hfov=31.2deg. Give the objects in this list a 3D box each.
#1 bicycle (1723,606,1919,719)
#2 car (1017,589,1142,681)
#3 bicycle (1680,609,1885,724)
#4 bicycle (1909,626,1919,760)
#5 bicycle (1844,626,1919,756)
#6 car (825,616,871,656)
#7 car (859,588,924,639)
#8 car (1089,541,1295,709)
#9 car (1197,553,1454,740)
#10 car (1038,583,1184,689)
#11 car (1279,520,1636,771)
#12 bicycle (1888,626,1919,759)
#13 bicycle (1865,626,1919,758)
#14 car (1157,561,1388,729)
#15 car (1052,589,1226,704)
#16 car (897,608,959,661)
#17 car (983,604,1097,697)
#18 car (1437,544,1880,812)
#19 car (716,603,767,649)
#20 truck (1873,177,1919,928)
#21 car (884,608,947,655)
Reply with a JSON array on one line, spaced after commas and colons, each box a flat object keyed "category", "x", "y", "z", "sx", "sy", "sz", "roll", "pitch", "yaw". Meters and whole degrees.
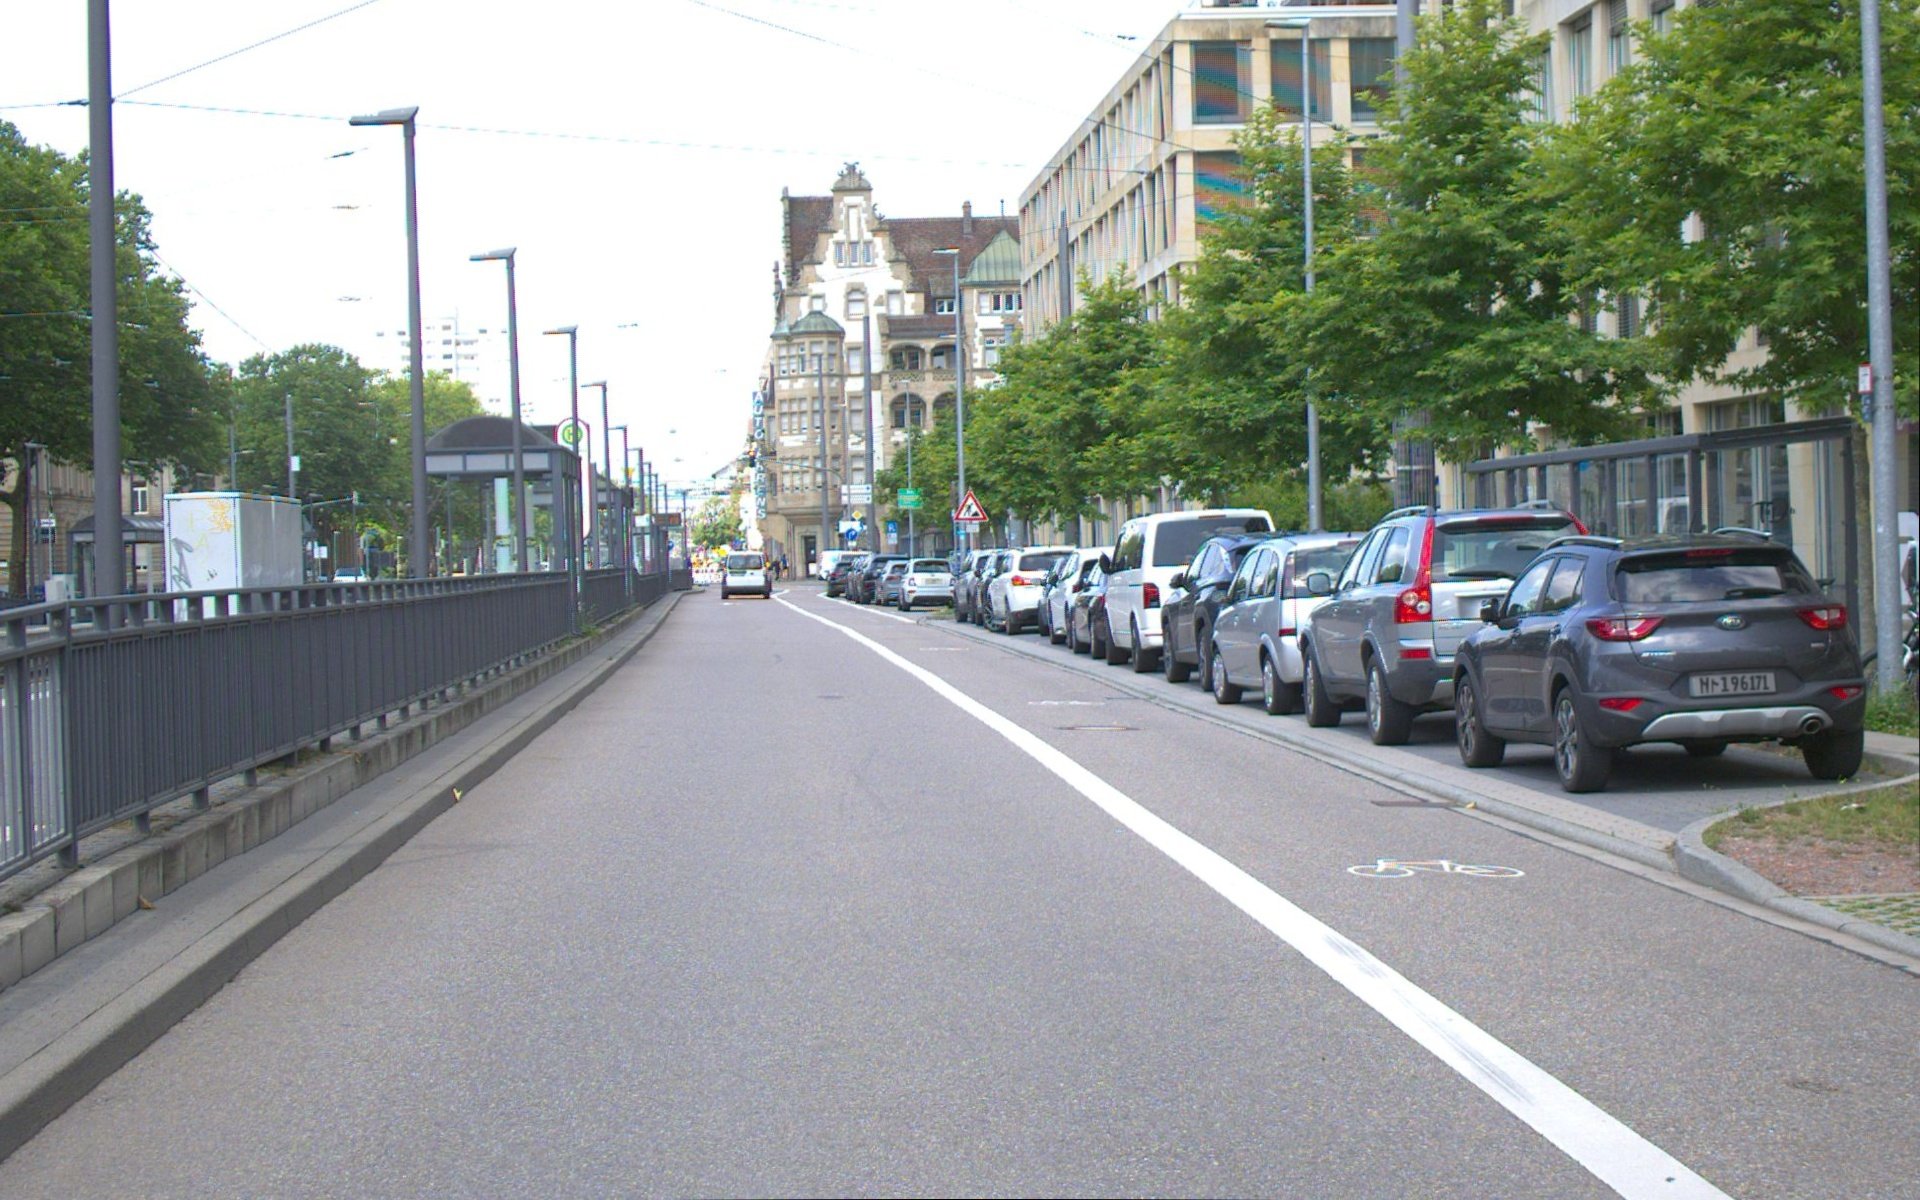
[{"category": "bicycle", "x": 8.427, "y": 0.609, "z": 33.559, "sx": 1.841, "sy": 1.053, "sz": 0.439, "roll": 1, "pitch": -1, "yaw": -5}, {"category": "car", "x": 2.028, "y": 0.594, "z": 59.398, "sx": 1.685, "sy": 1.452, "sz": 3.951, "roll": -3, "pitch": 0, "yaw": -4}, {"category": "bicycle", "x": 7.823, "y": 0.630, "z": 32.709, "sx": 1.841, "sy": 1.053, "sz": 0.439, "roll": 1, "pitch": -1, "yaw": -5}, {"category": "bicycle", "x": 8.047, "y": 0.735, "z": 25.546, "sx": 1.841, "sy": 0.990, "sz": 0.439, "roll": 3, "pitch": -1, "yaw": -5}, {"category": "bicycle", "x": 7.928, "y": 0.746, "z": 26.957, "sx": 1.841, "sy": 0.990, "sz": 0.439, "roll": 3, "pitch": -1, "yaw": -5}, {"category": "car", "x": -4.419, "y": 1.387, "z": 135.118, "sx": 1.443, "sy": 1.465, "sz": 4.093, "roll": -4, "pitch": 0, "yaw": -6}, {"category": "car", "x": -2.301, "y": 0.444, "z": 114.513, "sx": 1.737, "sy": 1.664, "sz": 4.841, "roll": 1, "pitch": 0, "yaw": -6}, {"category": "car", "x": 2.872, "y": 0.301, "z": 43.653, "sx": 1.881, "sy": 1.932, "sz": 4.844, "roll": -3, "pitch": 0, "yaw": -4}, {"category": "car", "x": 3.375, "y": 0.414, "z": 32.397, "sx": 1.721, "sy": 1.614, "sz": 3.860, "roll": -1, "pitch": 0, "yaw": -4}, {"category": "car", "x": 2.346, "y": 0.550, "z": 54.394, "sx": 1.792, "sy": 1.524, "sz": 4.159, "roll": -3, "pitch": 0, "yaw": -4}, {"category": "car", "x": 3.807, "y": 0.331, "z": 27.164, "sx": 1.769, "sy": 1.761, "sz": 4.840, "roll": -1, "pitch": 0, "yaw": -4}, {"category": "bicycle", "x": 8.015, "y": 0.738, "z": 26.015, "sx": 1.841, "sy": 0.990, "sz": 0.439, "roll": 3, "pitch": -1, "yaw": -5}, {"category": "bicycle", "x": 7.965, "y": 0.742, "z": 26.477, "sx": 1.841, "sy": 0.990, "sz": 0.439, "roll": 3, "pitch": -1, "yaw": -5}, {"category": "car", "x": 3.318, "y": 0.460, "z": 37.269, "sx": 1.721, "sy": 1.635, "sz": 4.528, "roll": -3, "pitch": 0, "yaw": -4}, {"category": "car", "x": 2.505, "y": 0.640, "z": 49.109, "sx": 1.881, "sy": 1.482, "sz": 4.564, "roll": -2, "pitch": 0, "yaw": -4}, {"category": "car", "x": -0.916, "y": 0.975, "z": 97.191, "sx": 1.591, "sy": 1.455, "sz": 3.613, "roll": 0, "pitch": 0, "yaw": -3}, {"category": "car", "x": 1.475, "y": 0.922, "z": 64.484, "sx": 1.685, "sy": 1.600, "sz": 4.152, "roll": -3, "pitch": 0, "yaw": -4}, {"category": "car", "x": 4.297, "y": 0.451, "z": 21.785, "sx": 1.691, "sy": 1.500, "sz": 4.068, "roll": -1, "pitch": 0, "yaw": -4}, {"category": "car", "x": -8.316, "y": 0.982, "z": 130.484, "sx": 1.868, "sy": 1.740, "sz": 4.000, "roll": 0, "pitch": 0, "yaw": -5}, {"category": "truck", "x": 7.127, "y": -0.261, "z": 12.605, "sx": 6.804, "sy": 2.857, "sz": 2.455, "roll": -1, "pitch": -1, "yaw": -6}, {"category": "car", "x": -1.423, "y": 0.971, "z": 108.442, "sx": 1.591, "sy": 1.429, "sz": 4.108, "roll": 1, "pitch": 0, "yaw": -6}]
